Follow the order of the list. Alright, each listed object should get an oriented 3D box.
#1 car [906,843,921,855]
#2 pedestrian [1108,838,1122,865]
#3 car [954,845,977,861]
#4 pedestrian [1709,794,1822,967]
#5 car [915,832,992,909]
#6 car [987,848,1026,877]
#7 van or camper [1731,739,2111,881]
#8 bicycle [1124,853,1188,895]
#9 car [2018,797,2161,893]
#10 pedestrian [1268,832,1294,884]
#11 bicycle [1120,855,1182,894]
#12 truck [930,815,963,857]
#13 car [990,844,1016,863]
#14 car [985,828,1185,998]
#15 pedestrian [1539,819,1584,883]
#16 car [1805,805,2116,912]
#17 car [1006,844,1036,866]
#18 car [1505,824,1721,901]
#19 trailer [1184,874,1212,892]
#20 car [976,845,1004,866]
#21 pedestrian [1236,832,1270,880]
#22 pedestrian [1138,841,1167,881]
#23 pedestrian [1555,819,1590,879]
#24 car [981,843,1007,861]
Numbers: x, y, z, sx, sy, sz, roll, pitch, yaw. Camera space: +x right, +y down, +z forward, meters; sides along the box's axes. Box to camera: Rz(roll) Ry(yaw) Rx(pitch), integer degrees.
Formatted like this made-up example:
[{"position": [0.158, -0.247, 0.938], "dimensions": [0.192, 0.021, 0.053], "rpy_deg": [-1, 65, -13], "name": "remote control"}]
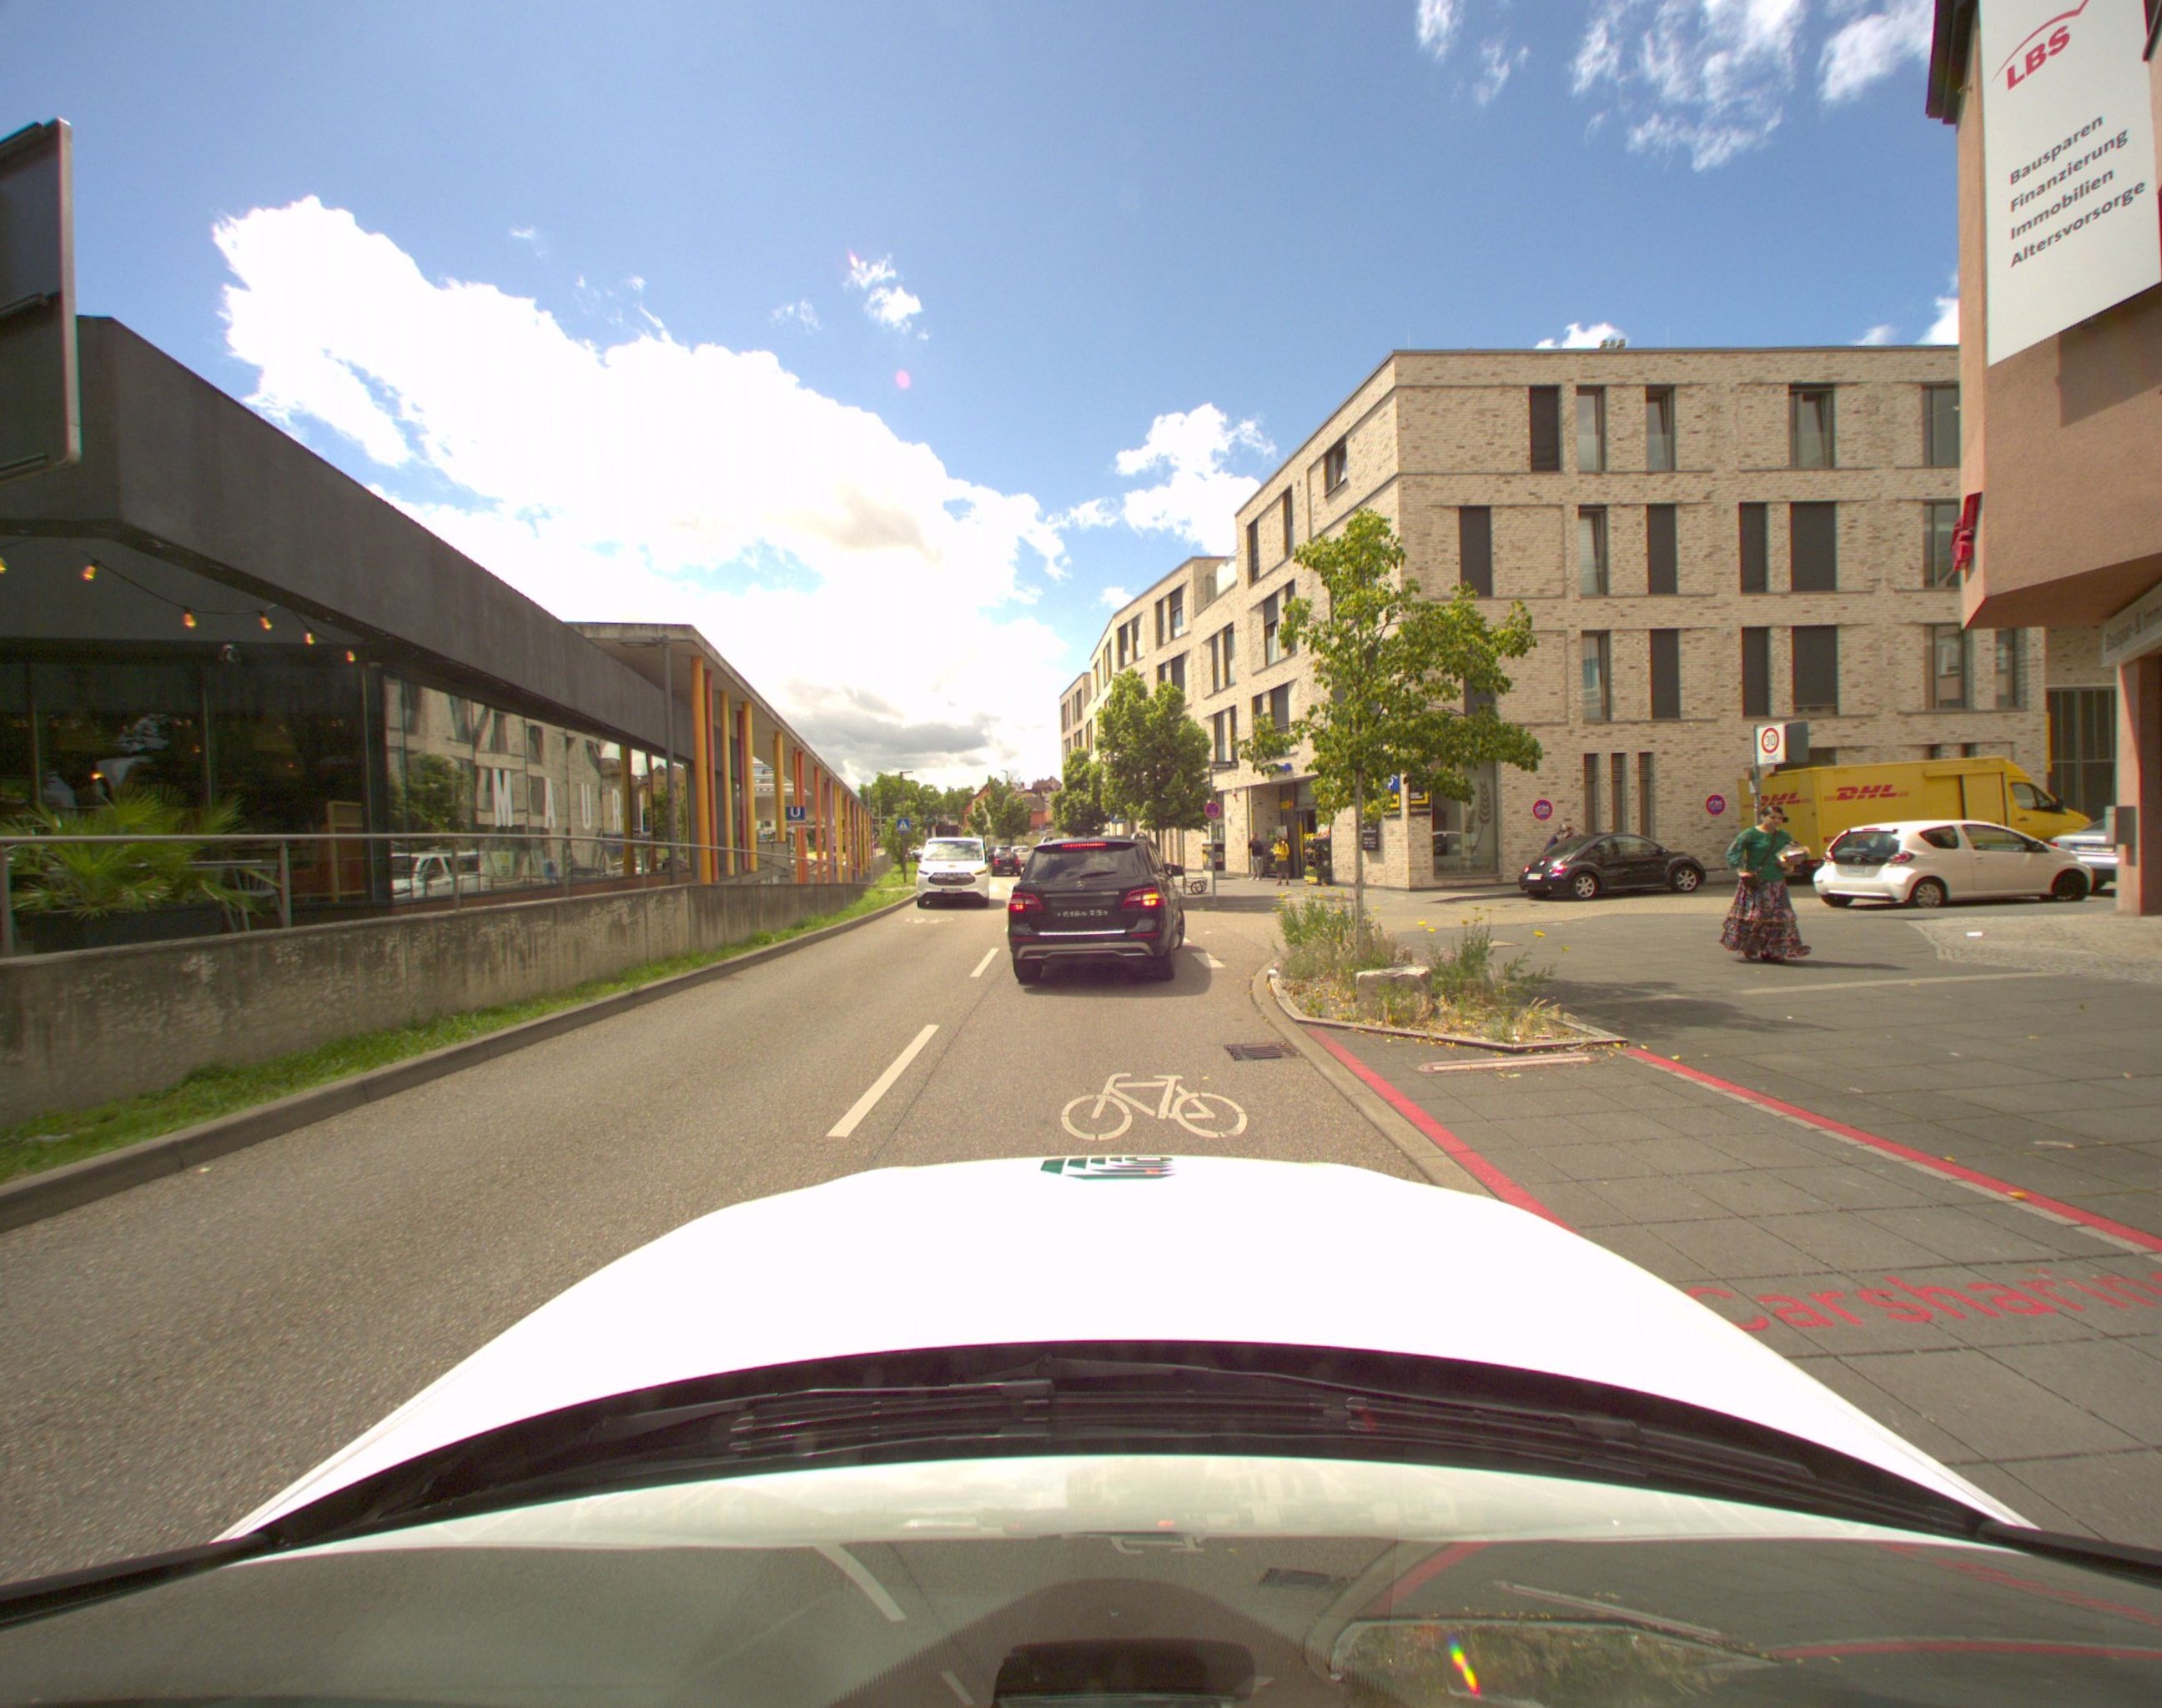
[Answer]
[{"position": [-21.050, -0.688, 102.633], "dimensions": [1.813, 1.469, 3.892], "rpy_deg": [-1, 1, -12], "name": "car"}, {"position": [1.940, -0.128, 46.328], "dimensions": [0.606, 1.472, 0.789], "rpy_deg": [-3, 2, -5], "name": "pedestrian"}, {"position": [-11.057, -0.104, 77.675], "dimensions": [1.889, 1.465, 4.052], "rpy_deg": [-3, 1, -12], "name": "car"}, {"position": [6.922, 0.245, 8.281], "dimensions": [0.737, 1.638, 0.933], "rpy_deg": [-3, 1, 36], "name": "pedestrian"}, {"position": [-3.660, 0.414, 24.068], "dimensions": [1.991, 2.013, 5.382], "rpy_deg": [0, 0, -7], "name": "car"}, {"position": [-4.340, 0.454, 47.065], "dimensions": [1.728, 1.456, 3.792], "rpy_deg": [-3, 2, -13], "name": "car"}, {"position": [19.895, -0.990, 19.510], "dimensions": [6.839, 2.736, 2.274], "rpy_deg": [-4, -1, -3], "name": "van or camper"}, {"position": [2.312, 0.615, 25.362], "dimensions": [1.820, 1.201, 0.755], "rpy_deg": [-3, 0, -6], "name": "bicycle"}, {"position": [19.061, -0.243, 13.934], "dimensions": [3.997, 1.477, 1.832], "rpy_deg": [-3, 1, -1], "name": "car"}, {"position": [6.738, 0.134, 27.409], "dimensions": [0.651, 1.692, 0.635], "rpy_deg": [-2, 0, 28], "name": "pedestrian"}, {"position": [2.235, 0.644, 26.188], "dimensions": [1.820, 1.131, 0.755], "rpy_deg": [-3, 0, -6], "name": "bicycle"}, {"position": [-15.777, -1.989, 94.967], "dimensions": [3.206, 4.535, 8.988], "rpy_deg": [-1, 0, -13], "name": "truck"}, {"position": [-6.661, -0.077, 69.344], "dimensions": [1.693, 1.461, 4.131], "rpy_deg": [-4, 2, -11], "name": "car"}, {"position": [0.313, 0.600, 11.060], "dimensions": [1.982, 1.746, 4.543], "rpy_deg": [-3, 1, 8], "name": "car"}, {"position": [12.681, -0.072, 21.503], "dimensions": [0.557, 1.671, 0.807], "rpy_deg": [0, -1, -33], "name": "pedestrian"}, {"position": [14.619, 0.055, 13.676], "dimensions": [3.371, 1.477, 1.718], "rpy_deg": [-3, 1, -1], "name": "car"}, {"position": [-4.478, 0.042, 60.306], "dimensions": [1.693, 1.483, 3.784], "rpy_deg": [-4, 2, -11], "name": "car"}, {"position": [12.301, 0.178, 18.973], "dimensions": [3.886, 1.477, 1.781], "rpy_deg": [-3, 1, -4], "name": "car"}, {"position": [3.619, 0.895, 25.304], "dimensions": [0.718, 0.528, 0.811], "rpy_deg": [-2, 0, -2], "name": "trailer"}, {"position": [-7.081, 0.096, 63.058], "dimensions": [1.713, 1.393, 3.793], "rpy_deg": [-3, 2, -12], "name": "car"}, {"position": [6.526, 0.074, 30.880], "dimensions": [1.017, 1.741, 0.656], "rpy_deg": [-2, 0, -16], "name": "pedestrian"}, {"position": [2.830, 0.280, 32.344], "dimensions": [0.815, 1.565, 0.923], "rpy_deg": [-1, -1, -22], "name": "pedestrian"}, {"position": [13.207, -0.131, 21.869], "dimensions": [0.524, 1.573, 0.597], "rpy_deg": [0, -1, -33], "name": "pedestrian"}, {"position": [-8.127, -0.220, 75.814], "dimensions": [1.867, 1.451, 4.624], "rpy_deg": [-4, 2, -12], "name": "car"}]
